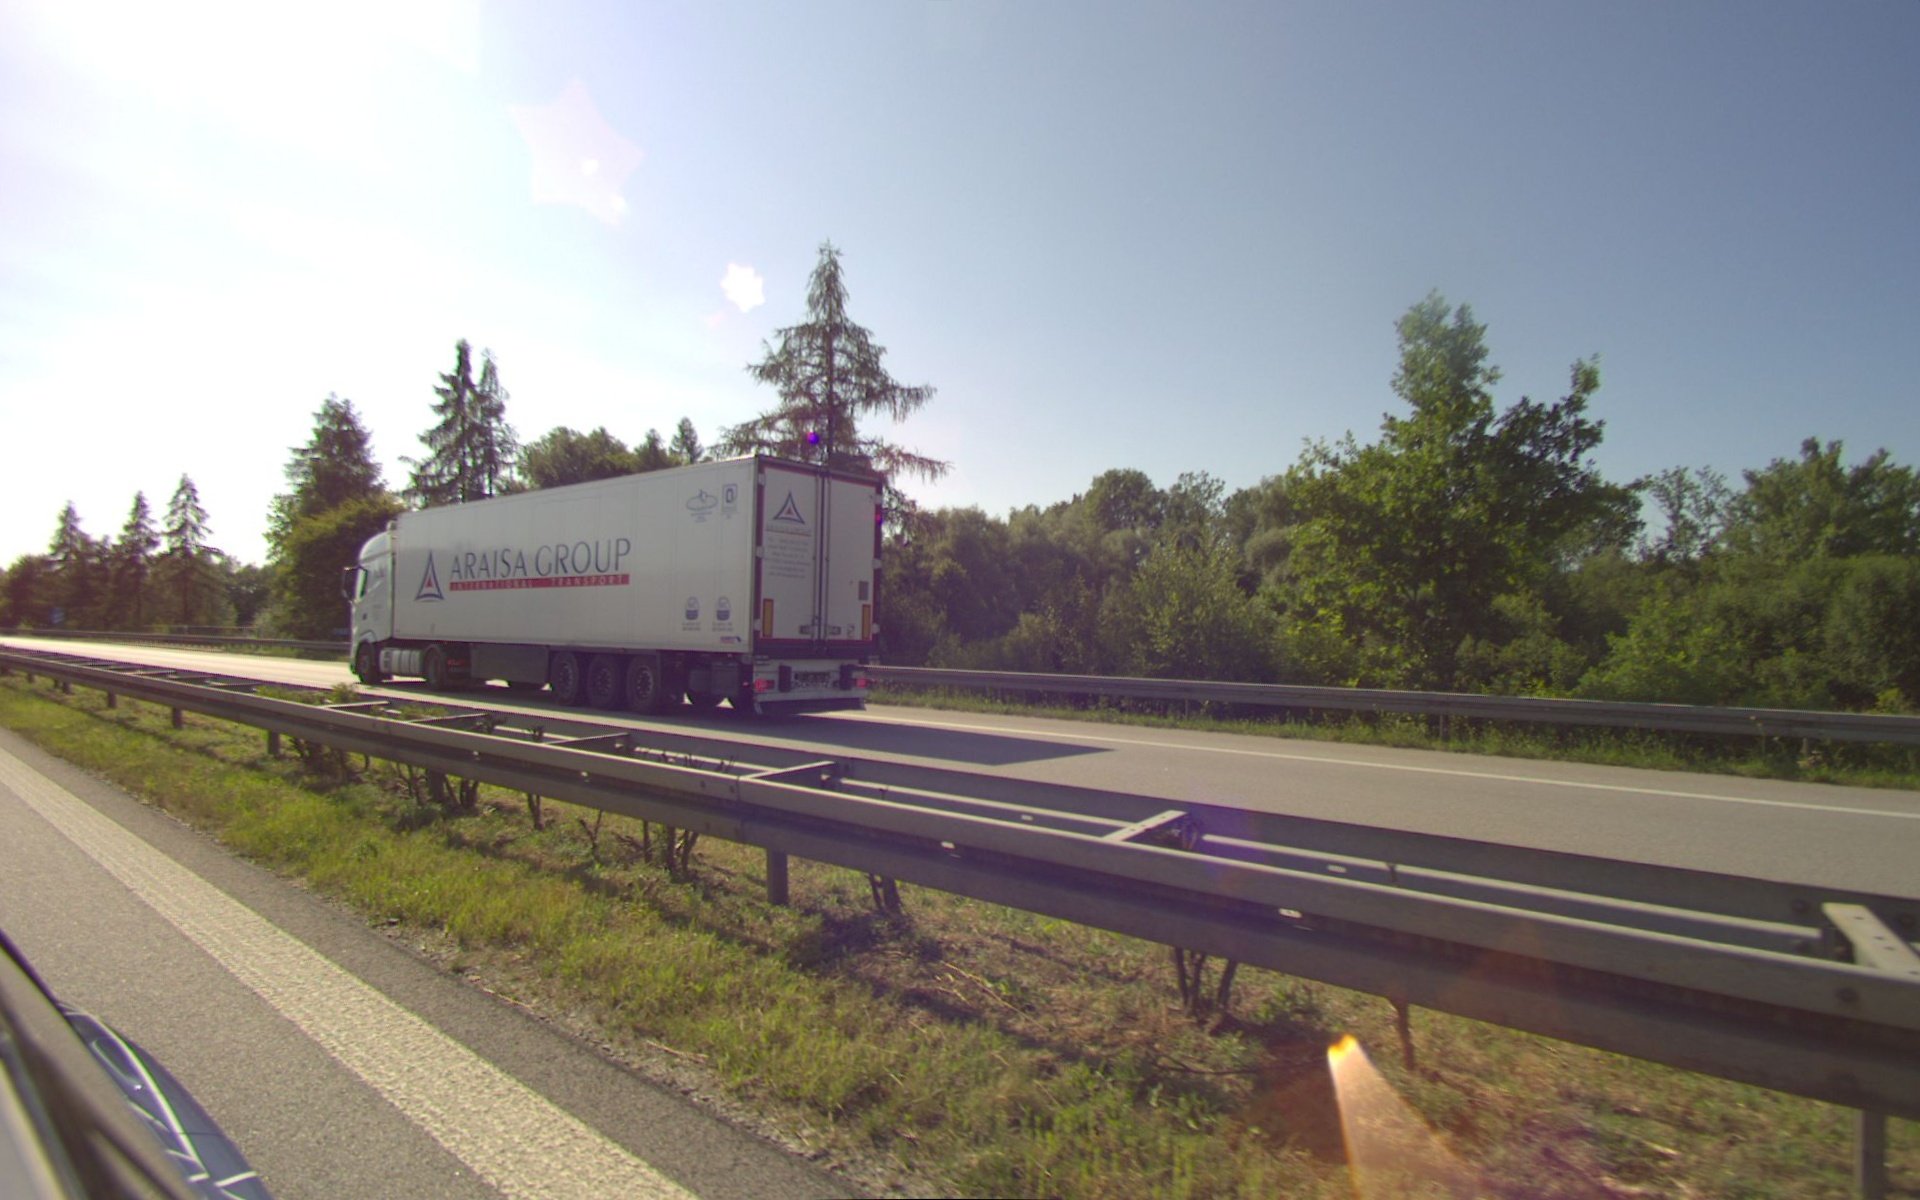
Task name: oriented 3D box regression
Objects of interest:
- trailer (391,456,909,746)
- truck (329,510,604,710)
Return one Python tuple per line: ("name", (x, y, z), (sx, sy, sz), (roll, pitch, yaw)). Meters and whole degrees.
("trailer", (-6.967, 0.181, 20.125), (13.434, 4.156, 3.118), (-1, -4, 41))
("truck", (-12.206, 0.338, 24.684), (7.731, 4.133, 3.123), (-1, -4, 41))
